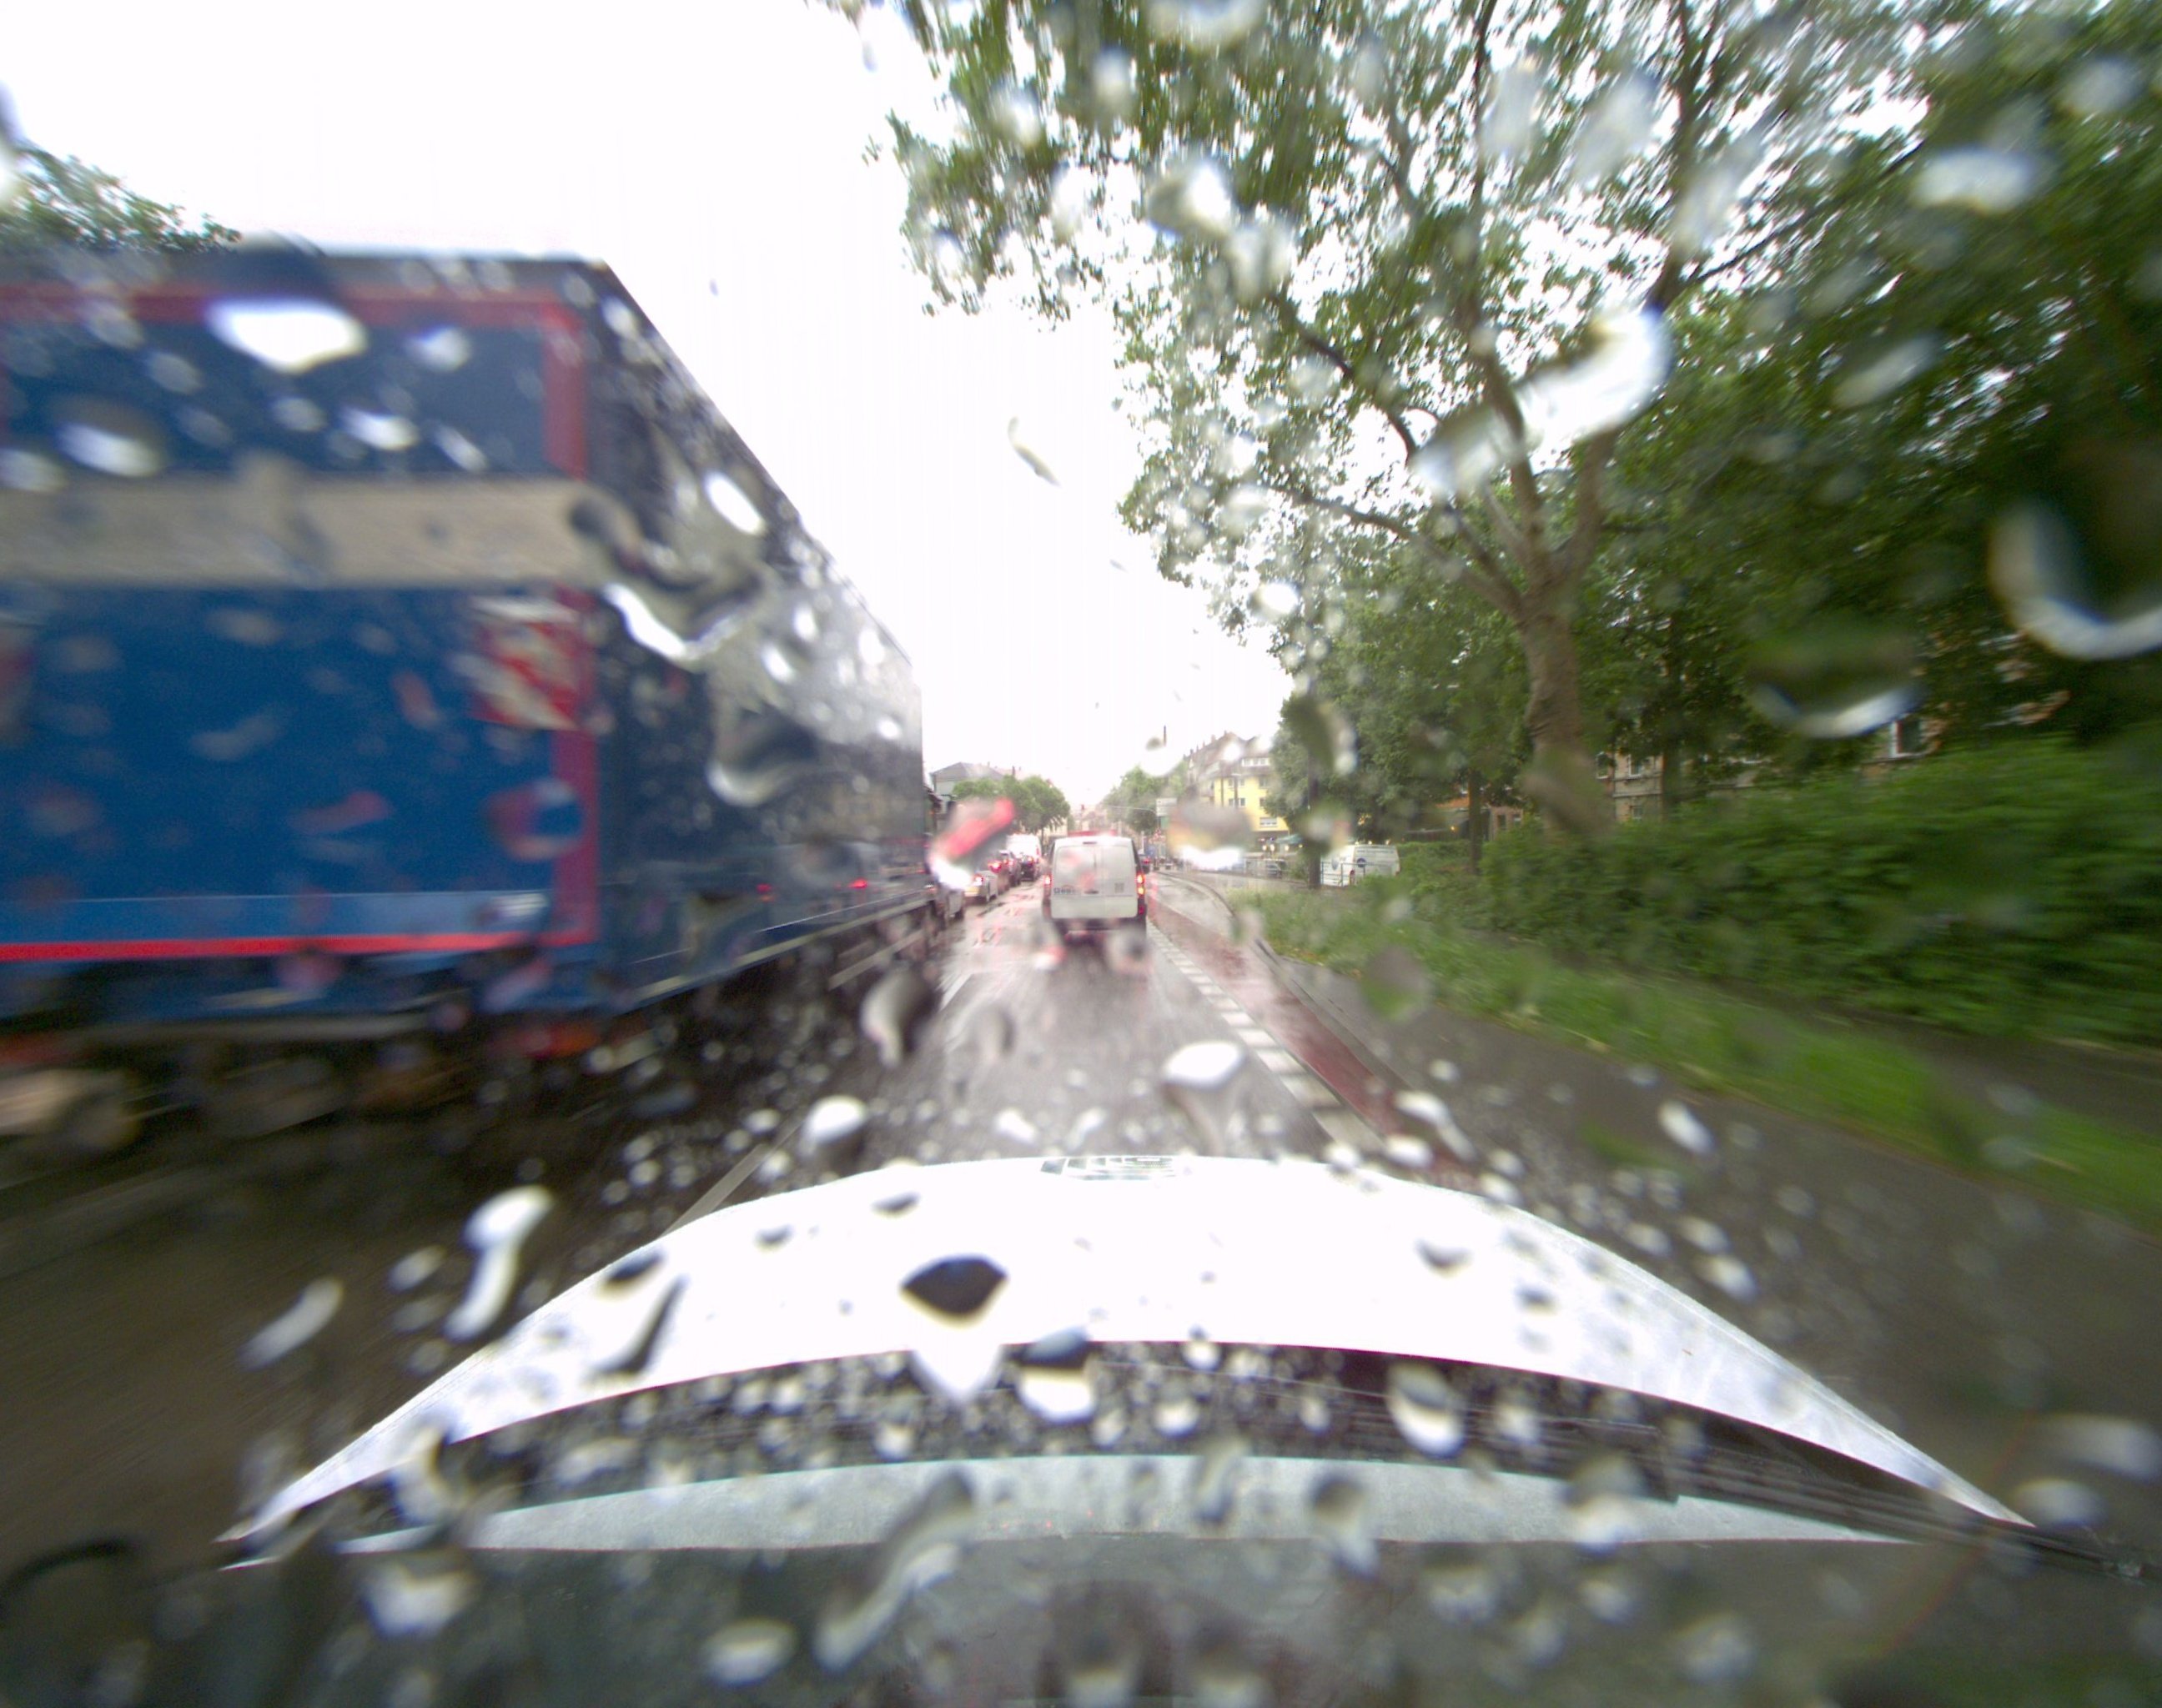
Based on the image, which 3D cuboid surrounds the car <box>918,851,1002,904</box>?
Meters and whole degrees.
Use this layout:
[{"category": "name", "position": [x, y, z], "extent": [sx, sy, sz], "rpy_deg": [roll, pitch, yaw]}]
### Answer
[{"category": "car", "position": [-3.677, 0.669, 25.422], "extent": [1.987, 1.472, 4.265], "rpy_deg": [0, 1, 0]}]

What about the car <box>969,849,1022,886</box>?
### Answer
[{"category": "car", "position": [-3.851, 0.574, 37.225], "extent": [1.987, 1.578, 4.291], "rpy_deg": [0, 0, 0]}]

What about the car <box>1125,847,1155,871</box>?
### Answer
[{"category": "car", "position": [4.115, 0.342, 56.832], "extent": [1.985, 1.542, 4.004], "rpy_deg": [-1, 0, 4]}]

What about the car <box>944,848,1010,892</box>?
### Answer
[{"category": "car", "position": [-3.891, 0.579, 31.204], "extent": [1.987, 1.578, 4.291], "rpy_deg": [0, 0, 0]}]

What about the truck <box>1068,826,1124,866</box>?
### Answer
[{"category": "truck", "position": [1.854, -1.030, 109.368], "extent": [3.291, 4.899, 11.319], "rpy_deg": [-3, 1, -21]}]

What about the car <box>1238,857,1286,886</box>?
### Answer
[{"category": "car", "position": [10.834, 0.993, 49.093], "extent": [1.817, 1.490, 4.350], "rpy_deg": [-3, 1, -1]}]

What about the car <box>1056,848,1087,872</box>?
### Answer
[{"category": "car", "position": [-0.560, 0.384, 51.063], "extent": [1.753, 1.469, 3.535], "rpy_deg": [-1, 0, 2]}]

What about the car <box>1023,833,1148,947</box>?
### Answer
[{"category": "car", "position": [0.067, 0.586, 14.680], "extent": [1.953, 1.777, 3.568], "rpy_deg": [-1, -1, 0]}]

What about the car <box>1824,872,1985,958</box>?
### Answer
[{"category": "car", "position": [19.318, 1.333, 19.082], "extent": [3.817, 1.559, 1.897], "rpy_deg": [-3, 1, -33]}]

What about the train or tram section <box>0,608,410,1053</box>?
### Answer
[{"category": "train or tram section", "position": [-9.420, -0.110, 5.380], "extent": [2.953, 3.285, 8.357], "rpy_deg": [-3, 1, -1]}]

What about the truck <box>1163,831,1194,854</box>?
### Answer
[{"category": "truck", "position": [10.076, -1.125, 83.805], "extent": [1.974, 2.299, 2.665], "rpy_deg": [-2, -1, 40]}]

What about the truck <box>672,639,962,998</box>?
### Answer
[{"category": "truck", "position": [-3.177, -0.407, 10.921], "extent": [2.573, 3.904, 3.998], "rpy_deg": [-1, 0, -1]}]

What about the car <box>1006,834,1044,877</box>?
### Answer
[{"category": "car", "position": [-3.357, 0.090, 49.485], "extent": [1.987, 2.442, 4.611], "rpy_deg": [0, 0, 0]}]

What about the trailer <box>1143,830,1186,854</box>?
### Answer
[{"category": "trailer", "position": [8.432, -1.129, 81.881], "extent": [1.974, 2.317, 4.697], "rpy_deg": [-2, -1, 40]}]

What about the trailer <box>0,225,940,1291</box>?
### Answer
[{"category": "trailer", "position": [-3.085, -0.386, 6.833], "extent": [2.583, 3.899, 7.632], "rpy_deg": [-1, 0, -1]}]

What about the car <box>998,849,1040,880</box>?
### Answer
[{"category": "car", "position": [-3.282, 0.528, 43.964], "extent": [1.987, 1.578, 4.291], "rpy_deg": [0, 0, 0]}]

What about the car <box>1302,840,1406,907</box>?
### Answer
[{"category": "car", "position": [11.451, 0.706, 34.701], "extent": [2.175, 2.532, 5.772], "rpy_deg": [-3, 1, -3]}]

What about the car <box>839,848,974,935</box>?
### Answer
[{"category": "car", "position": [-3.604, 0.707, 17.652], "extent": [1.987, 1.537, 4.132], "rpy_deg": [-3, 1, 0]}]
